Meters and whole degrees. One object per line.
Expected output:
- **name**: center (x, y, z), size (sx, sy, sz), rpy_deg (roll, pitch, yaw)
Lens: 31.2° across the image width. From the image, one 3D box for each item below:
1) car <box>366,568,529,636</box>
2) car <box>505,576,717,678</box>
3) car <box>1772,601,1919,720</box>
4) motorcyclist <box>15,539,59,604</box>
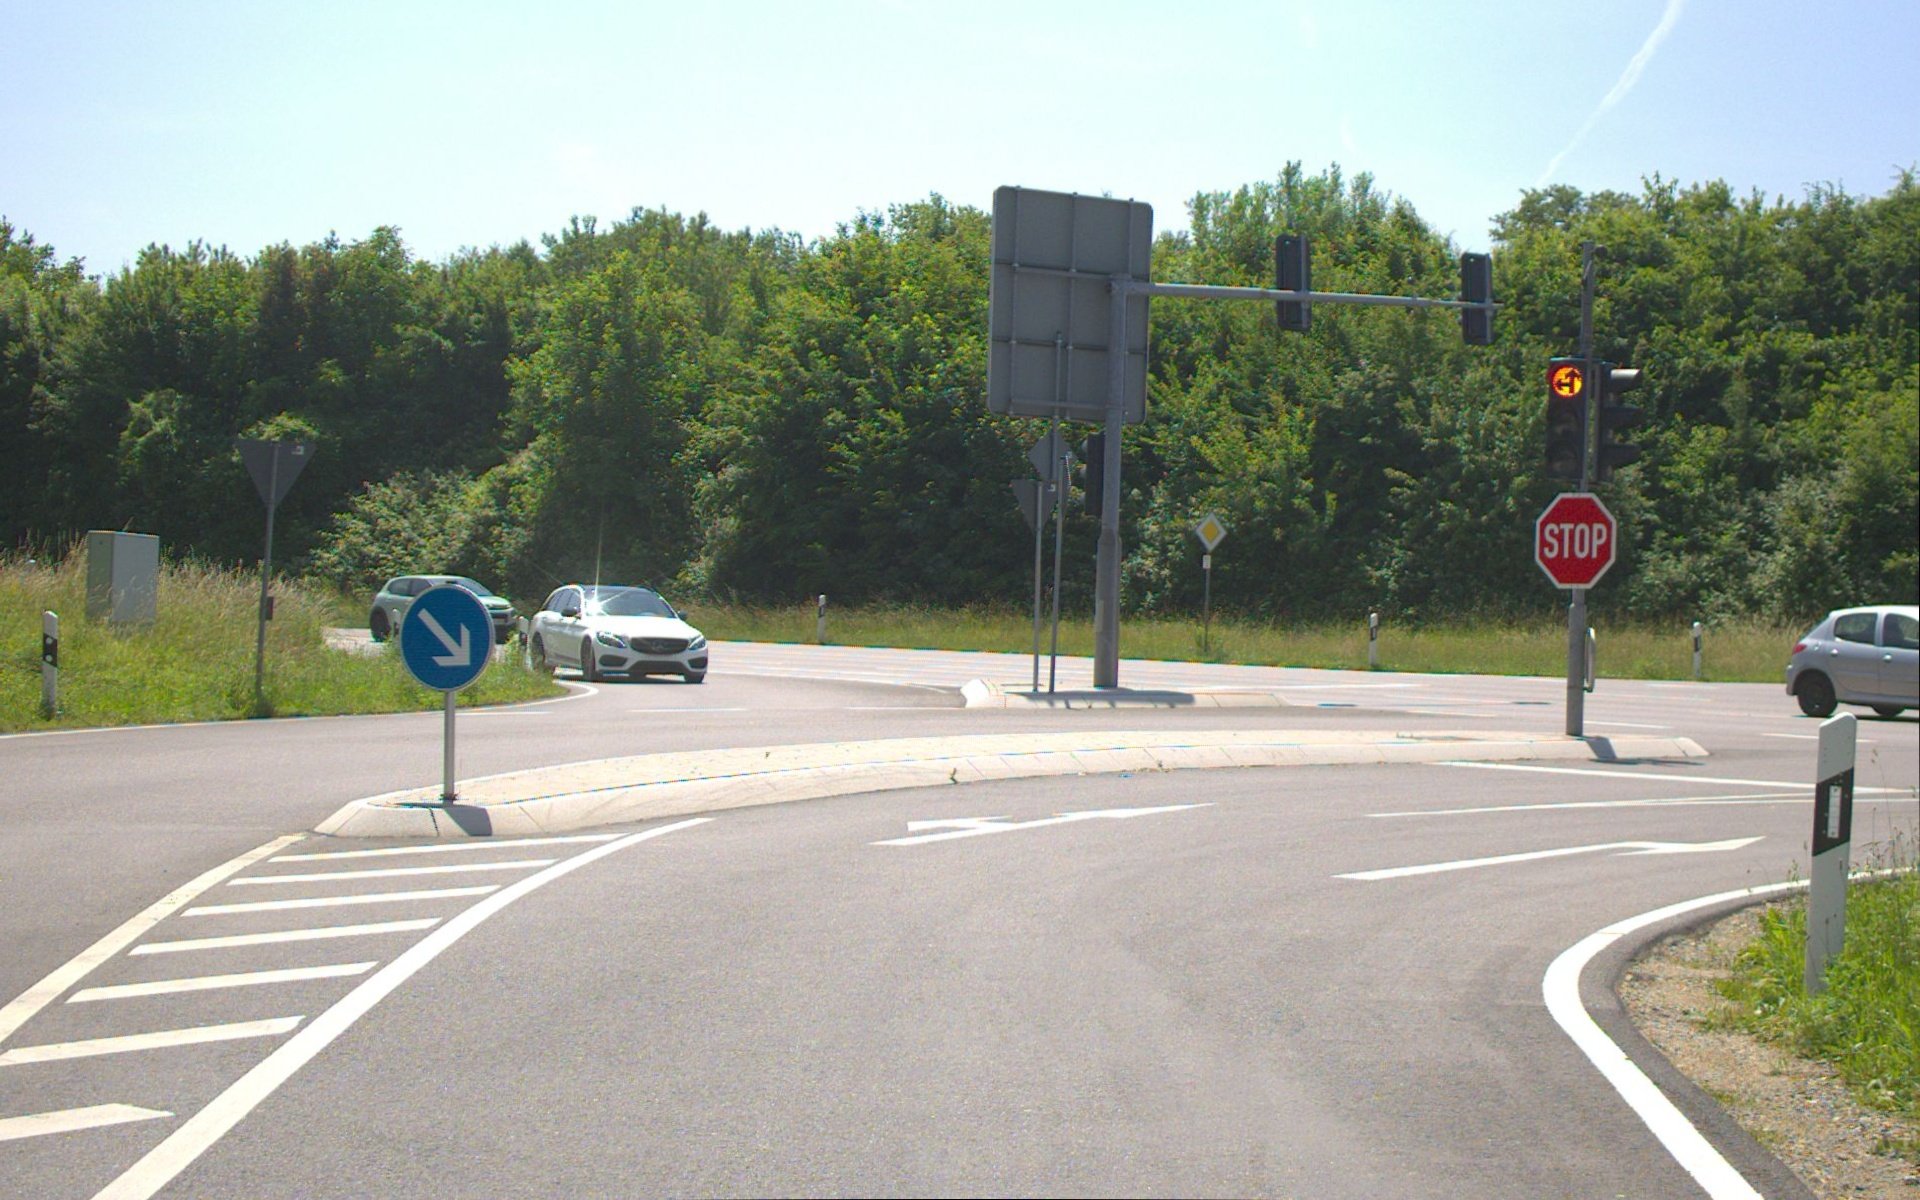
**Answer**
- **car**: center (-11.302, 0.019, 75.623), size (1.729, 1.399, 3.985), rpy_deg (0, 2, -40)
- **car**: center (-5.446, 0.383, 53.029), size (1.804, 1.407, 5.336), rpy_deg (1, 0, -22)
- **car**: center (12.163, 0.743, 42.666), size (1.813, 1.408, 3.783), rpy_deg (0, 1, -37)
- **motorcyclist**: center (-25.938, -0.801, 96.610), size (0.837, 1.837, 0.898), rpy_deg (-1, 0, -44)
